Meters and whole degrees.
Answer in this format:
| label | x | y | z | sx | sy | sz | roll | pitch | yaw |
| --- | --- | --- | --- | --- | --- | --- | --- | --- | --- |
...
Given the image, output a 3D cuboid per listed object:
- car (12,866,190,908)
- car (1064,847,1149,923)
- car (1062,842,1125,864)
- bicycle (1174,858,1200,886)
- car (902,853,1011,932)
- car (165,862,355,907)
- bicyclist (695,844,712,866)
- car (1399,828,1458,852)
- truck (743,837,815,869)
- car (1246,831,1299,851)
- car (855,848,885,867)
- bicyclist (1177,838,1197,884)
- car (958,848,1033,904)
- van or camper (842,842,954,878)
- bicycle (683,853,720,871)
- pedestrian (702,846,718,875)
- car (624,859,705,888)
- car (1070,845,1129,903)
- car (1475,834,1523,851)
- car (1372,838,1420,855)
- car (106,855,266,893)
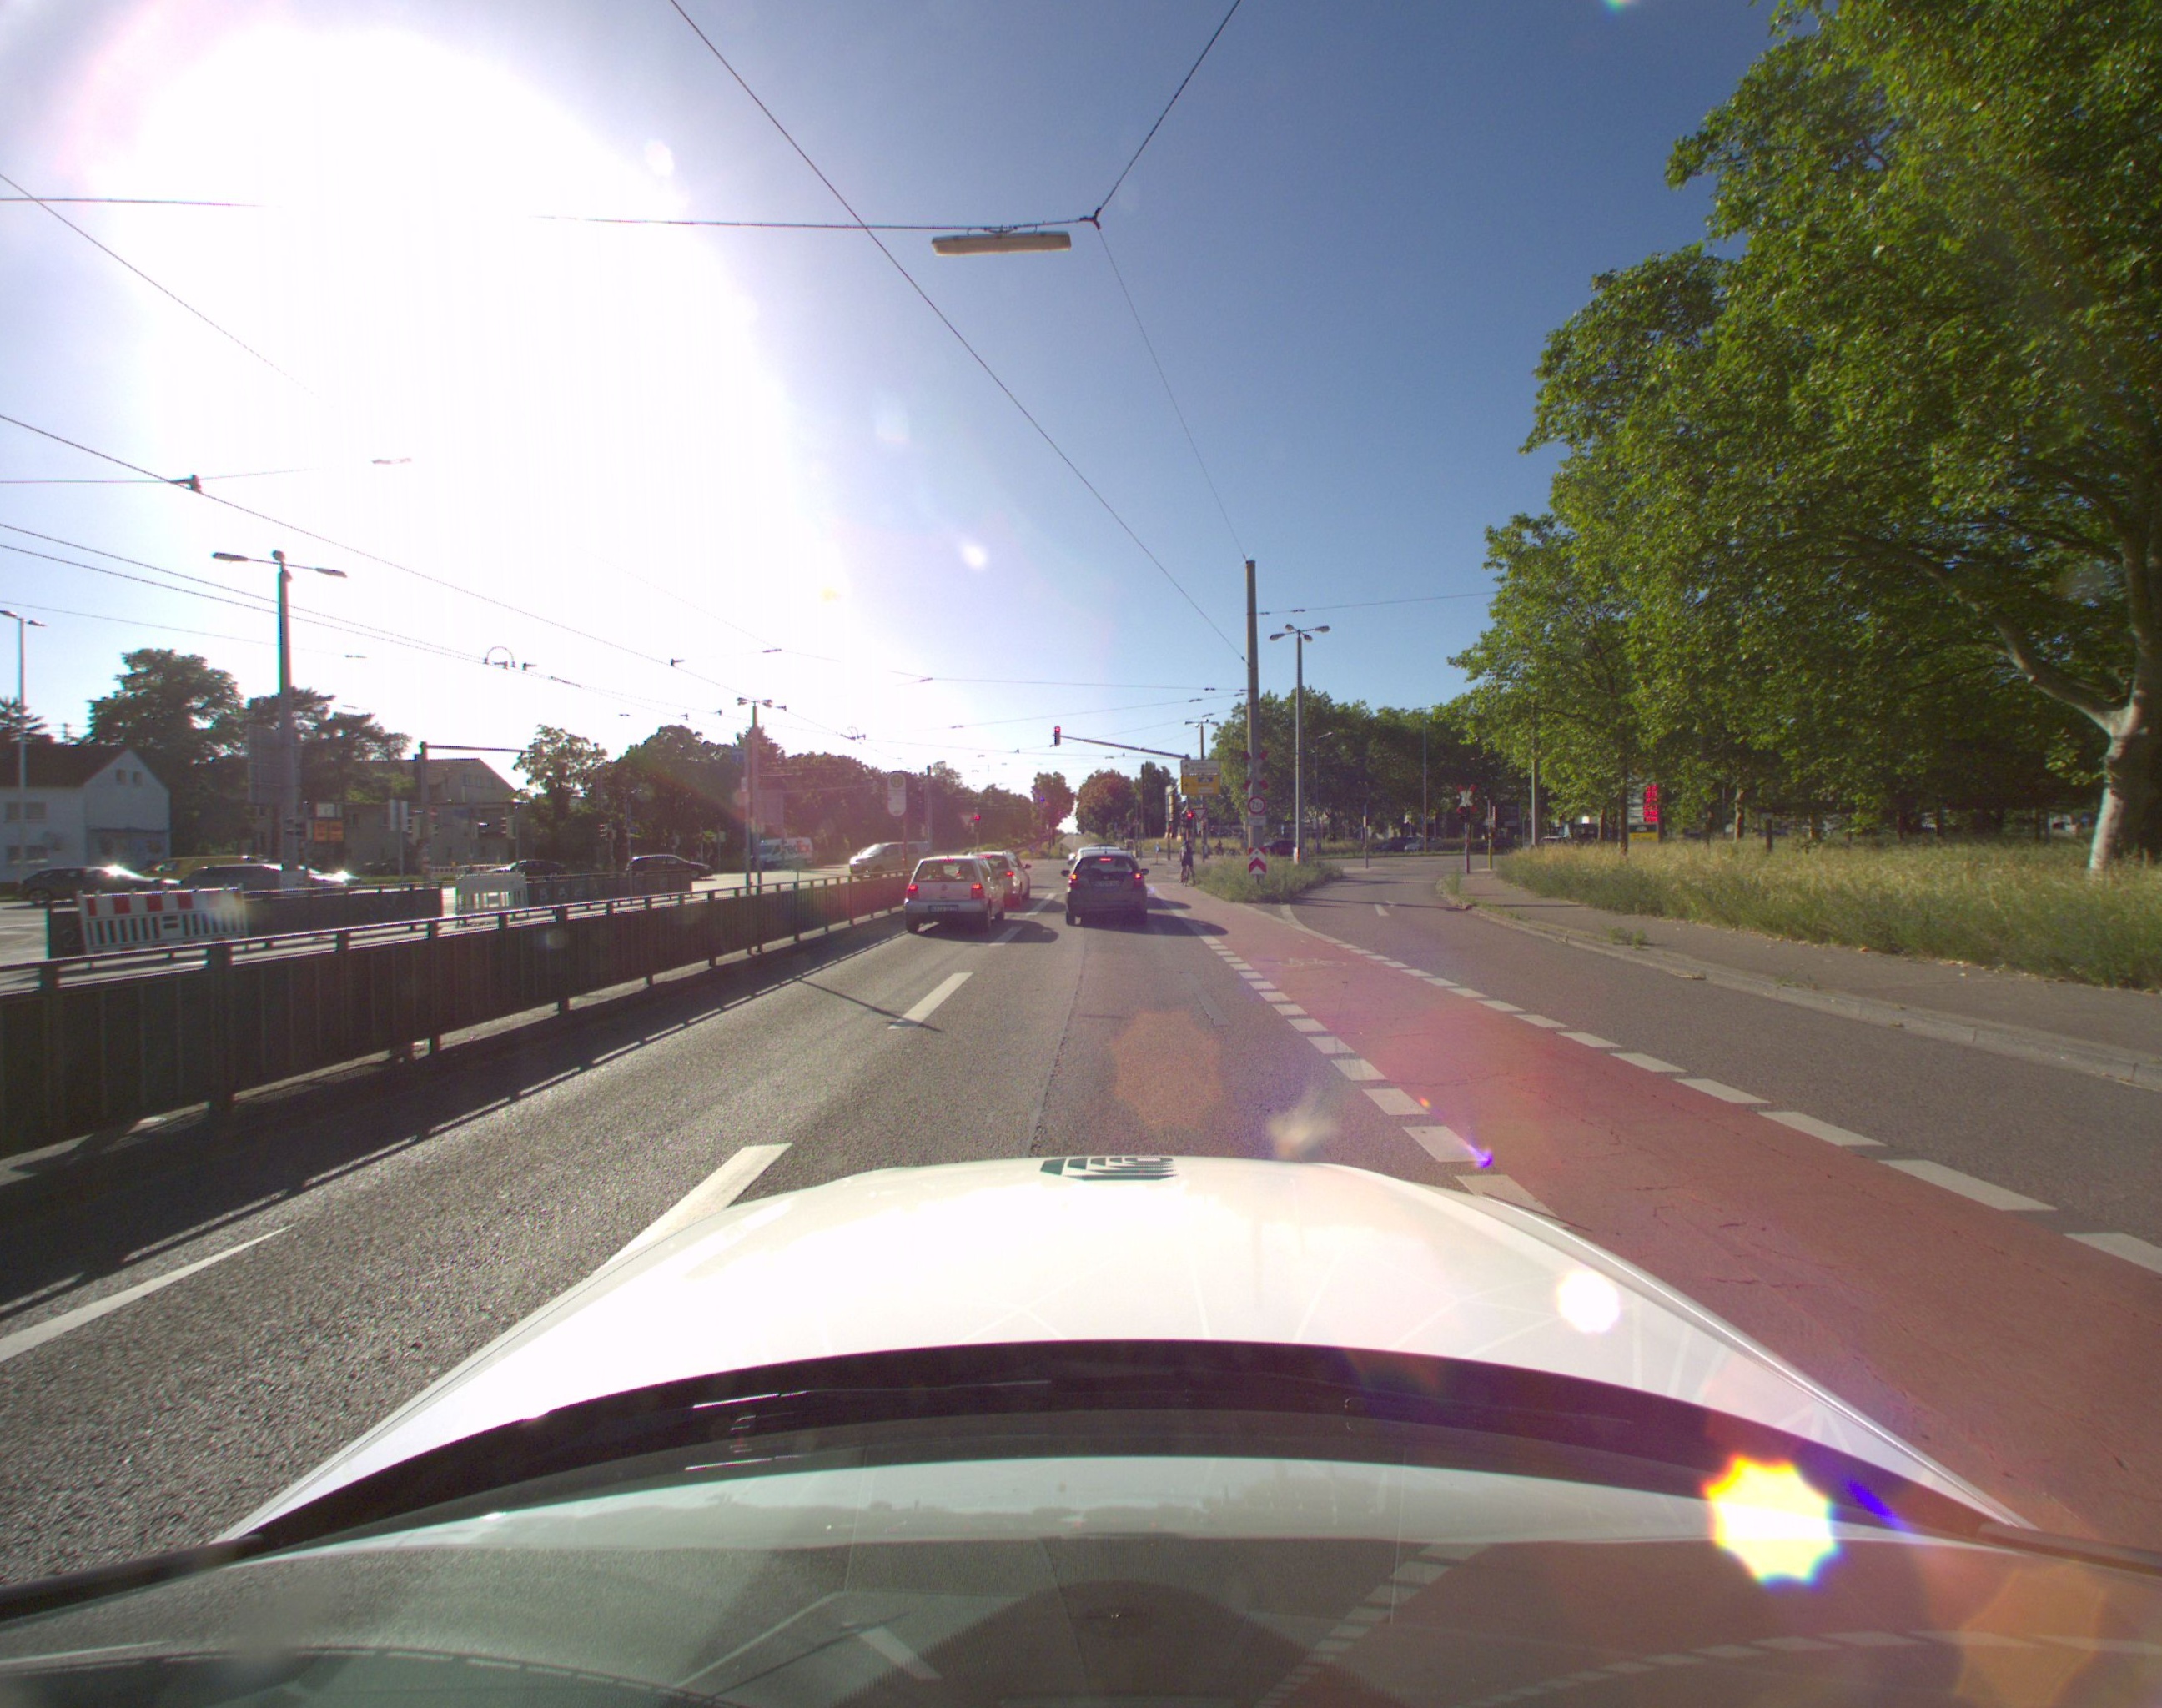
| label | x | y | z | sx | sy | sz | roll | pitch | yaw |
| --- | --- | --- | --- | --- | --- | --- | --- | --- | --- |
| car | -38.746 | 1.254 | 32.343 | 4.181 | 1.432 | 1.580 | -2 | 1 | -25 |
| car | 0.500 | 0.597 | 17.831 | 1.663 | 1.461 | 3.585 | -1 | 0 | 0 |
| car | 0.876 | -0.101 | 55.480 | 4.030 | 1.402 | 1.593 | -2 | 1 | -31 |
| bicycle | 4.086 | 0.673 | 31.628 | 0.719 | 0.989 | 2.876 | 0 | 0 | 1 |
| car | -2.441 | 0.704 | 16.711 | 1.613 | 1.417 | 3.352 | -2 | 0 | 1 |
| car | -31.888 | 1.133 | 31.841 | 4.844 | 1.497 | 1.771 | -2 | 1 | -25 |
| bicyclist | -28.669 | 0.090 | 61.850 | 1.009 | 1.647 | 0.813 | -1 | 0 | -16 |
| car | 31.287 | -1.249 | 73.289 | 4.906 | 2.013 | 1.986 | -2 | 1 | -21 |
| truck | -25.551 | -0.134 | 69.233 | 1.978 | 2.565 | 6.854 | -1 | 1 | 17 |
| car | 15.584 | -1.072 | 66.231 | 4.002 | 1.531 | 1.594 | -2 | 1 | -21 |
| car | -18.381 | 0.268 | 71.139 | 1.829 | 1.548 | 3.993 | -1 | 0 | -5 |
| bicyclist | 4.086 | 0.267 | 31.548 | 0.663 | 1.716 | 0.948 | 0 | 0 | 1 |
| car | -2.353 | 0.581 | 23.350 | 1.613 | 1.457 | 4.086 | 0 | 0 | 1 |
| van or camper | -10.152 | 0.277 | 45.692 | 1.975 | 1.828 | 6.023 | -1 | 0 | 44 |
| bicycle | -28.780 | 0.617 | 61.844 | 2.401 | 1.262 | 0.813 | -1 | 0 | -17 |
| pedestrian | -25.961 | 0.455 | 57.019 | 0.748 | 2.013 | 0.789 | -2 | 0 | -10 |
| car | -21.685 | 1.003 | 42.510 | 3.683 | 1.378 | 1.515 | -2 | 0 | -26 |
| car | 0.568 | 0.523 | 24.471 | 1.605 | 1.562 | 4.289 | -1 | 0 | 1 |
| car | 41.816 | -1.193 | 81.387 | 4.526 | 1.574 | 1.681 | -2 | 1 | -21 |
| car | 29.679 | -0.718 | 76.710 | 3.999 | 1.578 | 1.868 | 0 | 0 | -19 |
| car | -46.418 | 1.024 | 42.423 | 5.181 | 1.879 | 1.983 | 0 | 0 | -26 |
